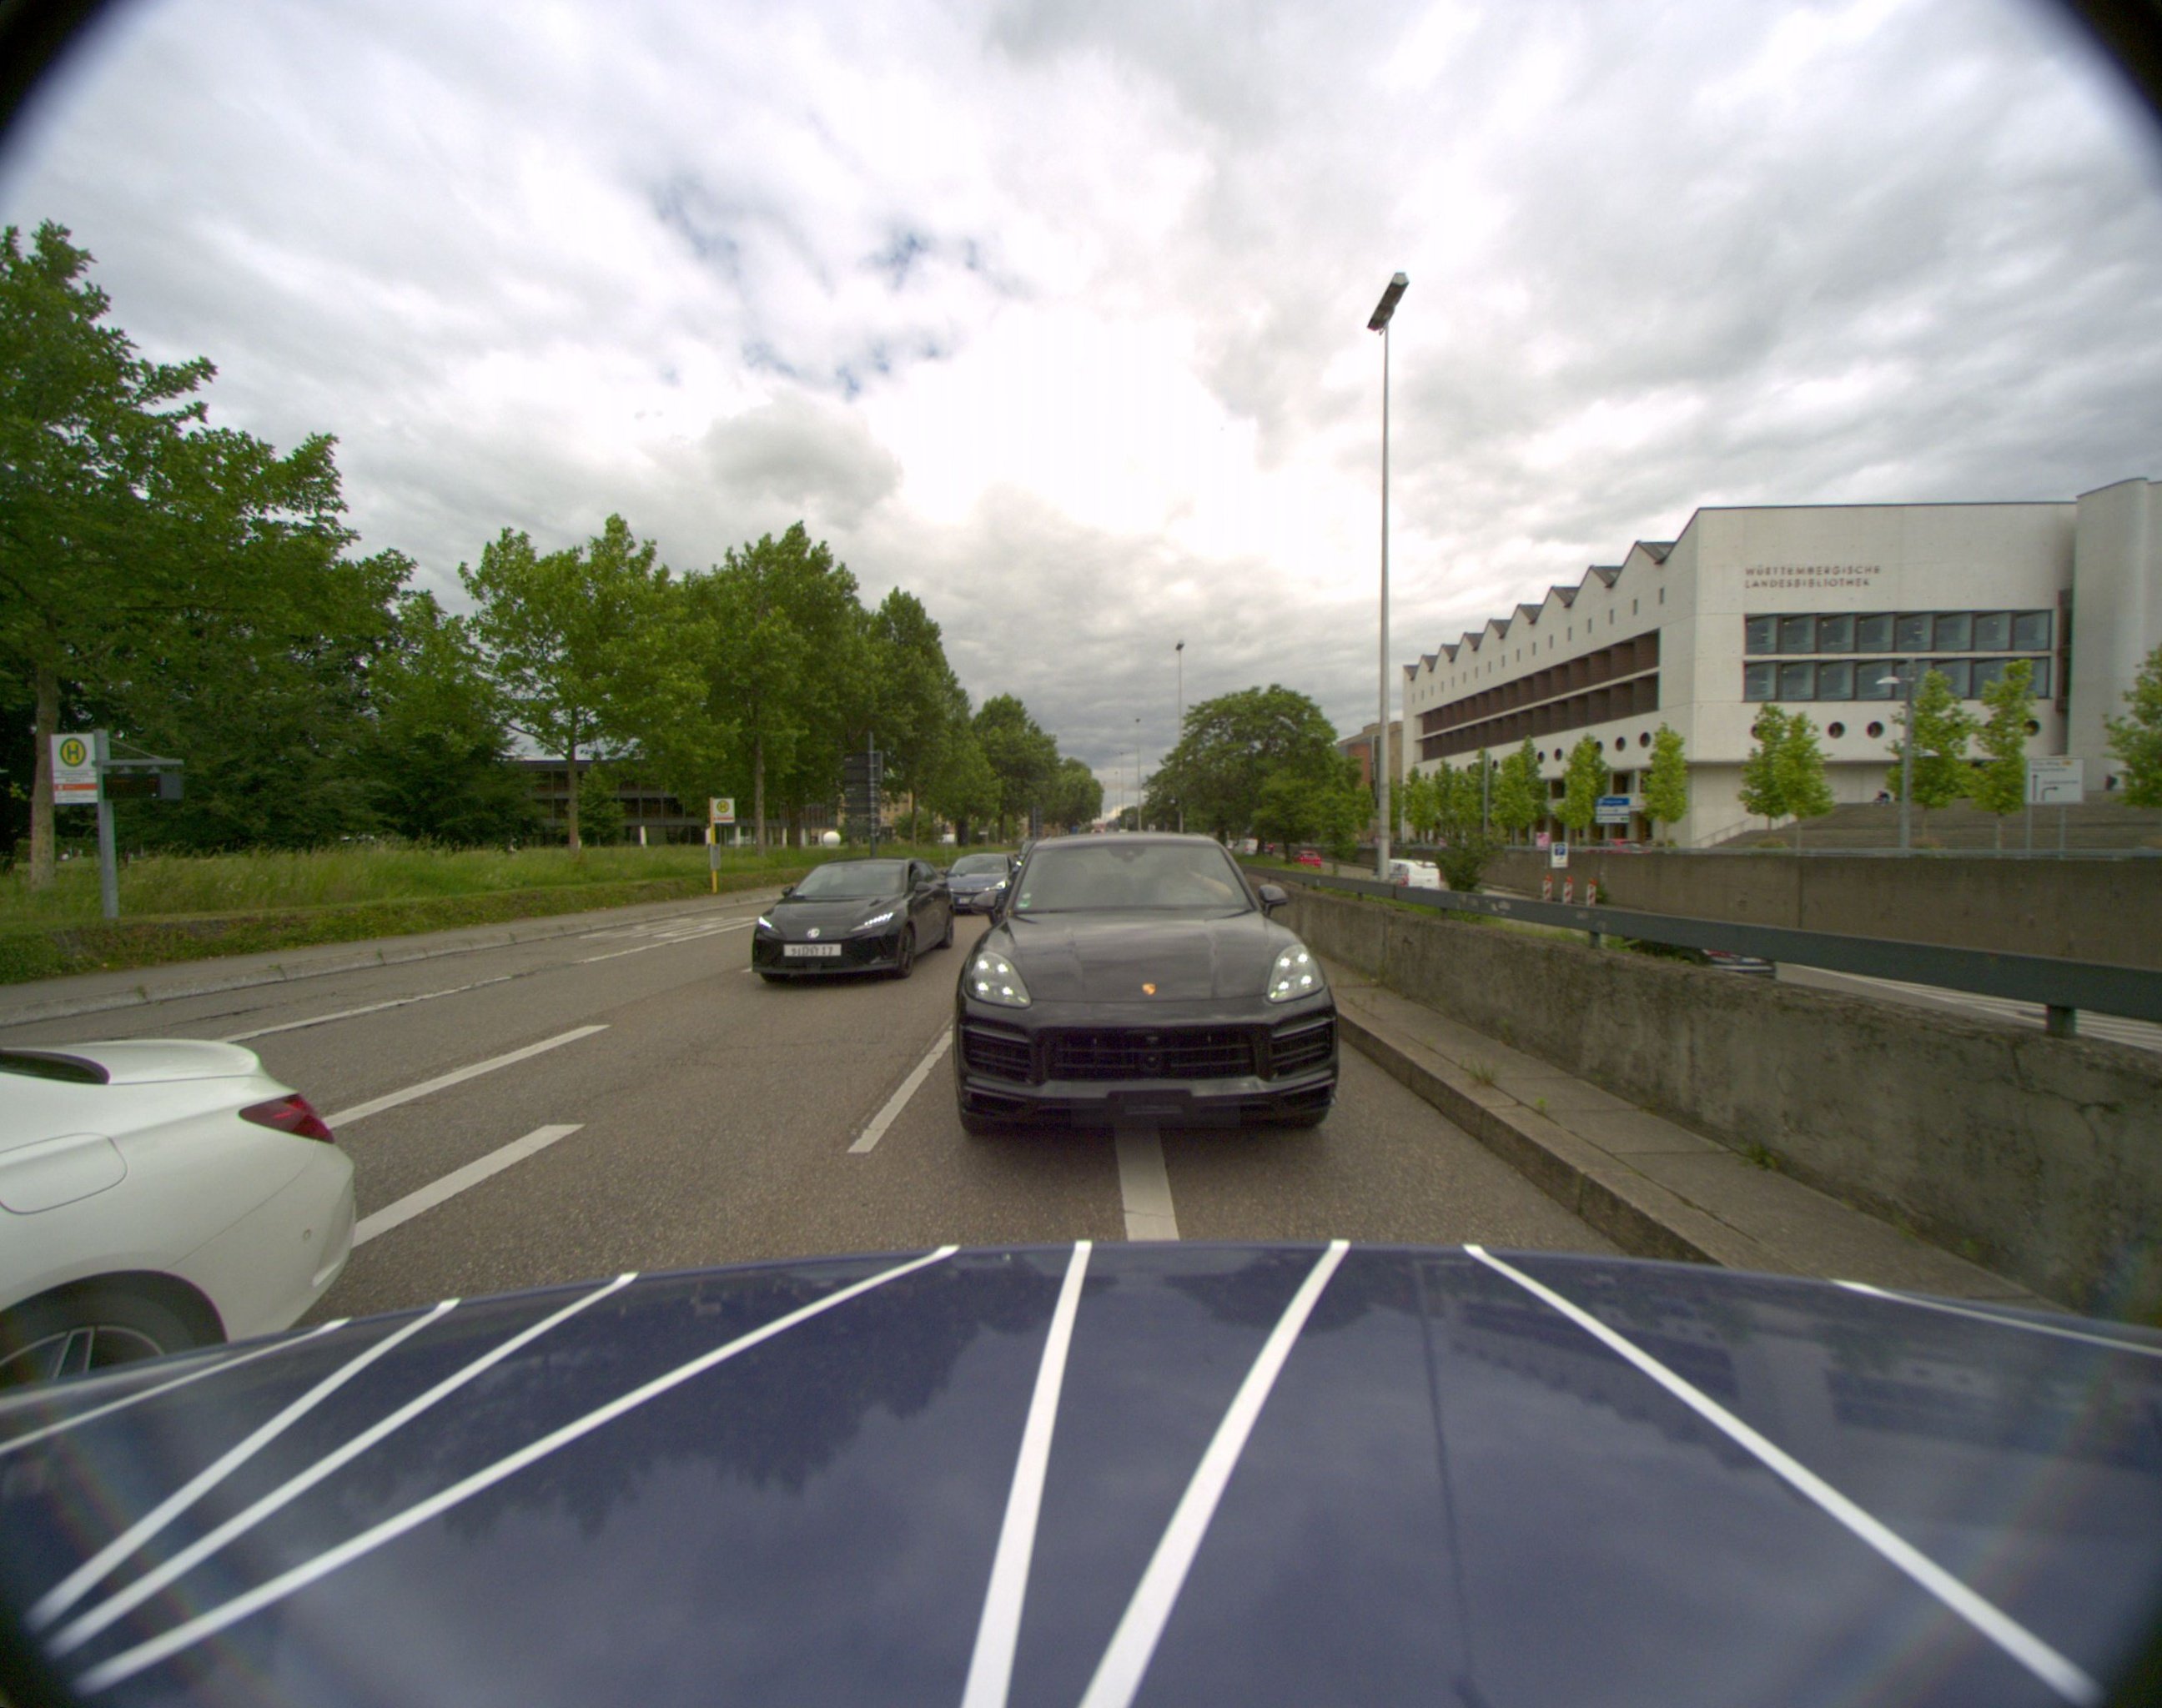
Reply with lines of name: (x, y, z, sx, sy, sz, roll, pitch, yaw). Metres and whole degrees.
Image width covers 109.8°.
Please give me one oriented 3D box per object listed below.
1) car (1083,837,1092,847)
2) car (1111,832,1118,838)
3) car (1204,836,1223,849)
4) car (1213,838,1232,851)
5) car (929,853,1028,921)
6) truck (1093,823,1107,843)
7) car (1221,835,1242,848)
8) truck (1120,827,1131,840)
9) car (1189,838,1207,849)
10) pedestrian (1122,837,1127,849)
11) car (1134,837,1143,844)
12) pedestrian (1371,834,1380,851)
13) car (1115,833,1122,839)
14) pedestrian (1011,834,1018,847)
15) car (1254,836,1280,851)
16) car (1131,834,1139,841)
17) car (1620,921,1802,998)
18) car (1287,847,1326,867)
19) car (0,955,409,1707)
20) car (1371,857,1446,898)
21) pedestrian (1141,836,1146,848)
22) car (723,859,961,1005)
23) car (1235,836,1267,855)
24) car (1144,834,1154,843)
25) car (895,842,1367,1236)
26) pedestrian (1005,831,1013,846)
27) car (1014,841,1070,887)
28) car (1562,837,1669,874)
car: (1.455, -2.635, 165.332, 1.693, 2.002, 3.999, -3, 2, 2)
car: (10.583, -5.903, 240.842, 1.998, 1.753, 3.999, 2, 2, 0)
car: (17.519, -1.522, 100.668, 1.779, 1.481, 4.143, 0, 4, 0)
car: (20.693, -1.449, 111.342, 1.998, 1.753, 3.999, 2, 2, 0)
car: (-2.461, 0.743, 19.243, 1.805, 1.426, 4.015, -1, 1, 2)
truck: (3.572, -3.946, 142.961, 2.357, 3.518, 9.423, -3, 2, 2)
car: (19.854, -1.665, 100.278, 1.780, 1.481, 4.142, 0, 4, -2)
truck: (11.131, -5.163, 190.879, 2.576, 3.289, 8.078, -3, 2, 2)
car: (17.089, -1.538, 111.066, 1.998, 1.390, 3.999, 2, 1, 0)
pedestrian: (7.339, -1.853, 126.814, 0.792, 2.002, 0.741, -1, 0, 2)
car: (11.384, -2.680, 149.993, 1.372, 1.389, 3.722, -1, -1, -1)
pedestrian: (35.937, -1.434, 92.801, 0.722, 2.002, 1.016, -3, 2, 2)
car: (11.189, -5.533, 228.190, 1.998, 1.753, 3.999, 2, 2, 0)
pedestrian: (-10.351, -2.072, 118.897, 0.892, 2.002, 1.181, -3, 2, 2)
car: (20.859, -1.245, 85.312, 1.780, 1.481, 4.142, 0, 4, -2)
car: (11.198, -3.423, 158.029, 1.442, 1.390, 3.721, 2, 1, 0)
car: (17.648, 2.899, 21.577, 1.880, 1.539, 3.999, -1, 1, 1)
car: (17.731, 0.215, 59.940, 1.998, 1.477, 4.000, -1, 1, 2)
car: (-3.189, 1.100, 0.214, 1.799, 1.412, 4.526, -1, 1, 2)
car: (17.489, 1.184, 40.911, 2.223, 2.002, 5.117, -1, 1, 5)
pedestrian: (10.277, -1.936, 124.739, 0.792, 2.002, 0.741, -1, 0, 2)
car: (-2.993, 0.884, 10.532, 1.852, 1.481, 4.092, -1, 1, 2)
car: (17.377, -0.924, 77.987, 1.999, 1.630, 5.246, 5, 3, -1)
car: (11.949, -2.730, 134.166, 1.372, 1.390, 3.721, 2, 1, 0)
car: (0.329, 0.739, 5.486, 1.904, 1.581, 4.732, -1, 1, 3)
pedestrian: (-10.250, -2.215, 108.666, 0.892, 2.002, 1.181, -3, 2, 2)
car: (-1.658, 0.365, 33.866, 2.021, 1.823, 4.804, -1, 1, 2)
car: (28.105, 0.051, 40.204, 2.180, 1.844, 4.734, -1, 1, -3)
